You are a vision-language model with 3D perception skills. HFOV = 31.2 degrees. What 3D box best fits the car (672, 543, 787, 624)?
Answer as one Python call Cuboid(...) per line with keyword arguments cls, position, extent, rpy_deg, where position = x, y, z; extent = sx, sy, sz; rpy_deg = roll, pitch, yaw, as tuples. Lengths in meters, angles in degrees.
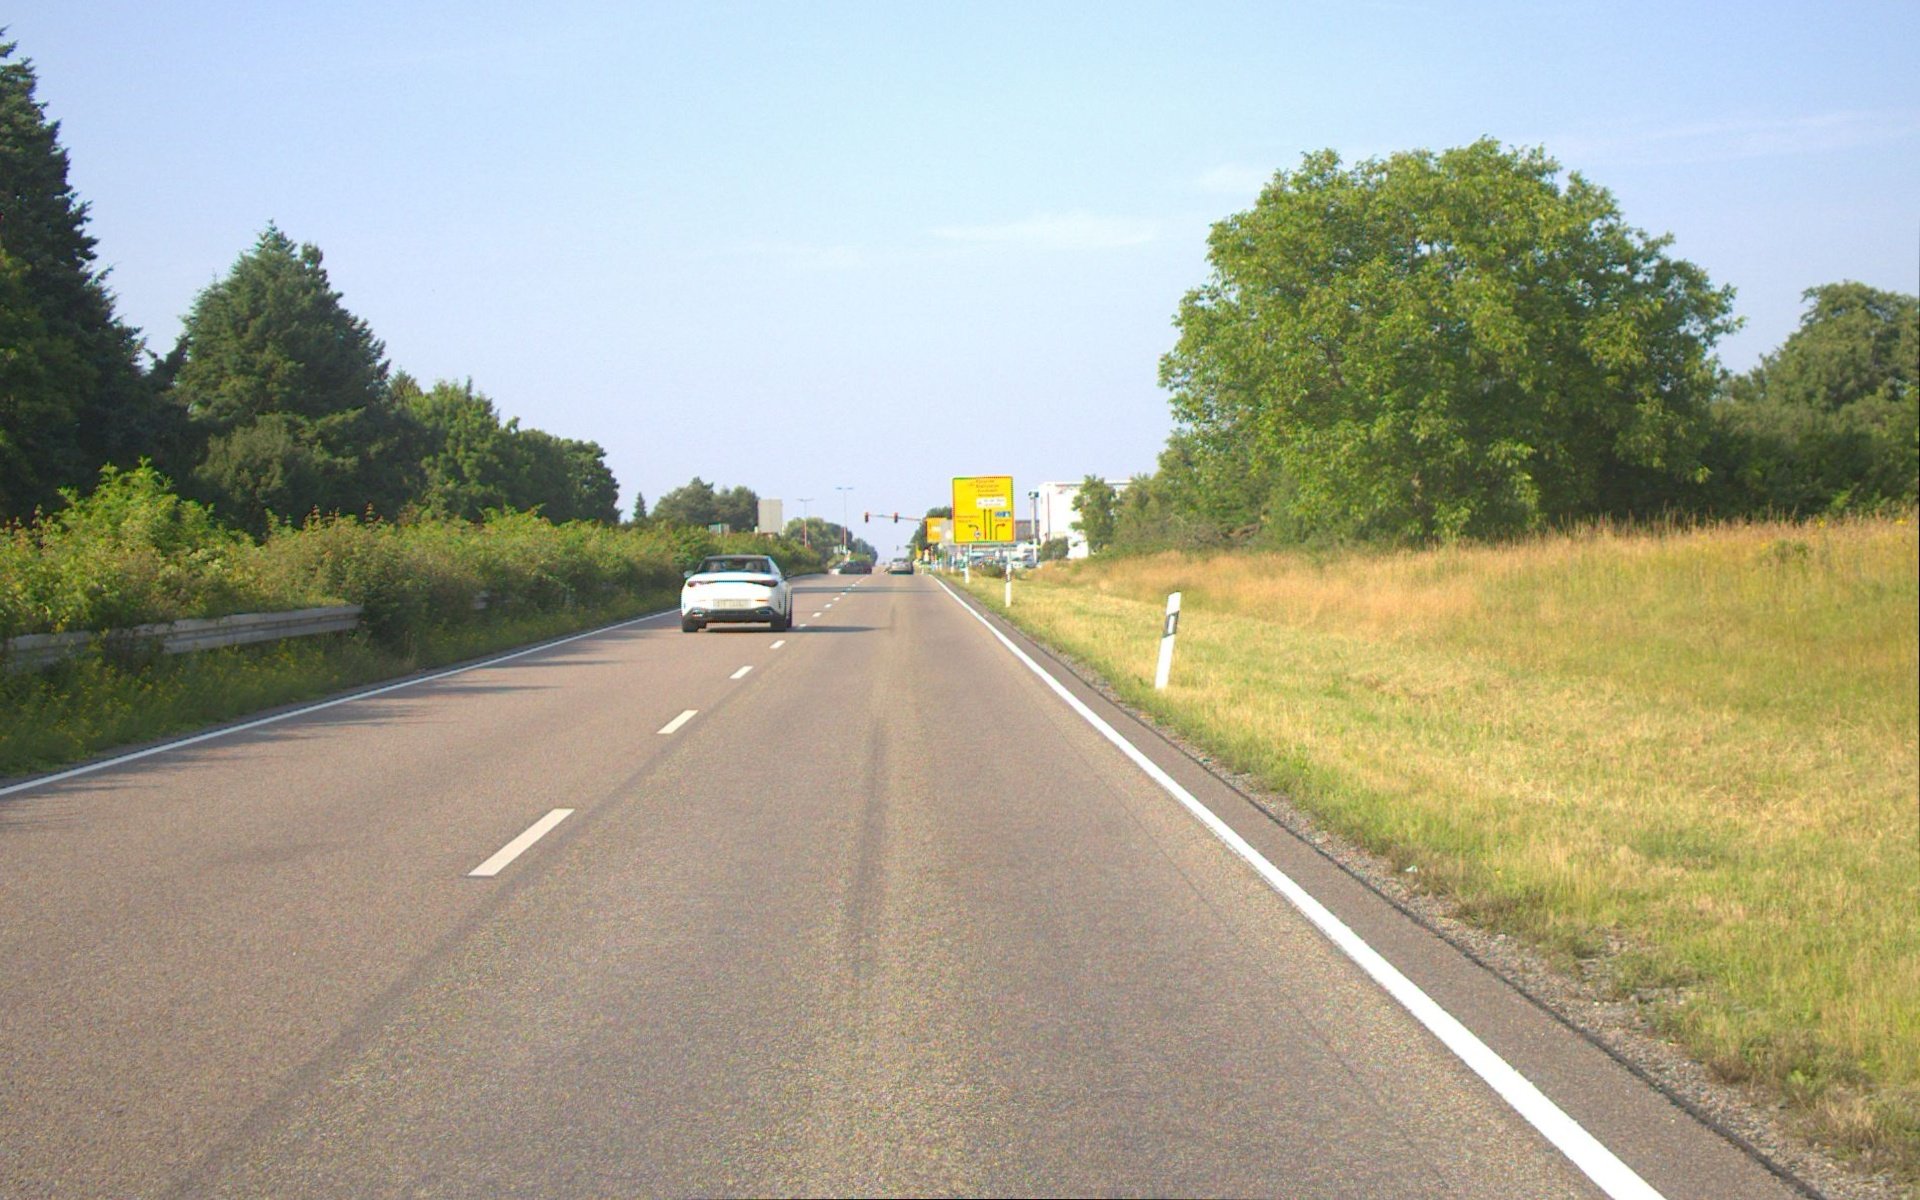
Cuboid(cls="car", position=(-4.143, -0.310, 62.262), extent=(1.909, 1.417, 4.000), rpy_deg=(0, 1, -2))
